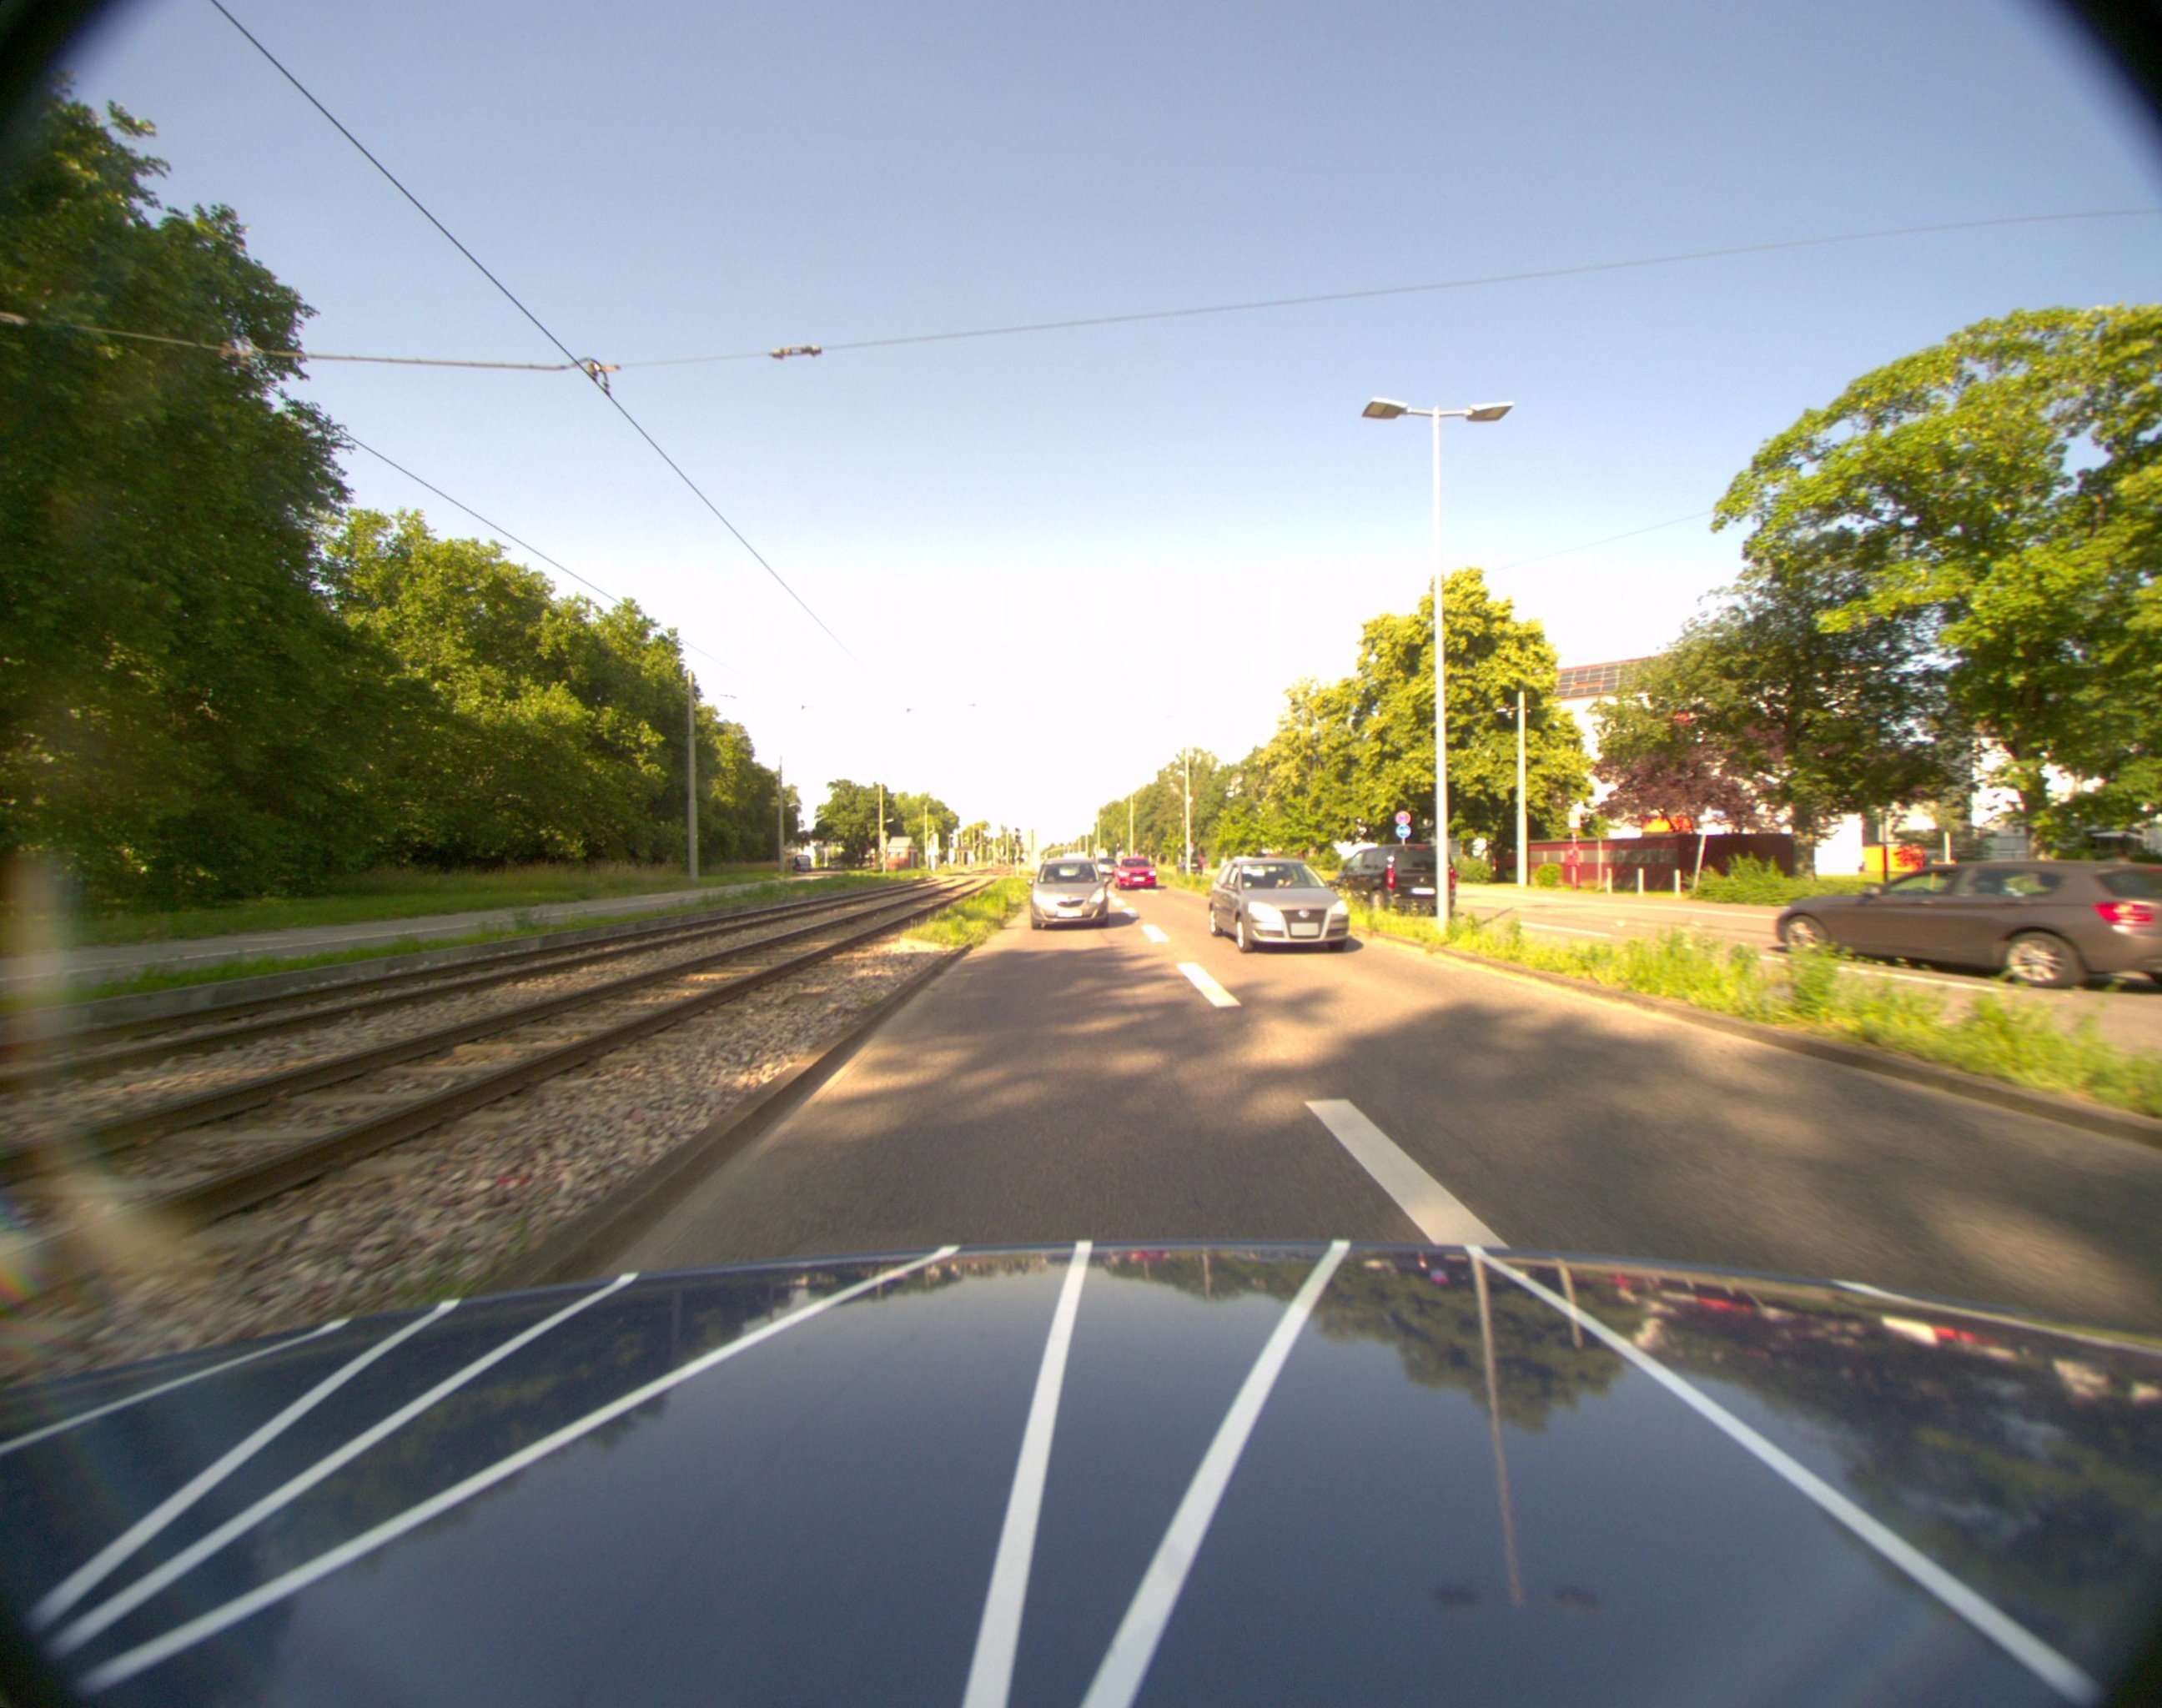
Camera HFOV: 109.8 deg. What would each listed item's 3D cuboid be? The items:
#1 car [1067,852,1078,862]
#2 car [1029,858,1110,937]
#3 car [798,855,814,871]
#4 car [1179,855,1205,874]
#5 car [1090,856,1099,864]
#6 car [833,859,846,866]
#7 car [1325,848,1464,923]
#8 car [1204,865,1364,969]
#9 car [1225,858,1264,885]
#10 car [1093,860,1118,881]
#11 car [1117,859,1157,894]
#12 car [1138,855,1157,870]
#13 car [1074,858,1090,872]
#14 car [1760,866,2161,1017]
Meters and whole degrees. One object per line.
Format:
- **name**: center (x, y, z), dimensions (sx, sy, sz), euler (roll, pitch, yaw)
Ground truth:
- **car**: center (-1.413, 0.449, 123.930), dimensions (1.710, 1.513, 3.832), euler (-2, 0, -2)
- **car**: center (-0.263, 0.921, 17.924), dimensions (1.650, 1.581, 3.833), euler (-2, 0, -1)
- **car**: center (-43.721, 1.478, 120.880), dimensions (1.863, 2.506, 3.853), euler (-3, 0, -27)
- **car**: center (10.416, 0.981, 71.506), dimensions (1.774, 1.669, 4.049), euler (0, 0, -2)
- **car**: center (2.879, 1.213, 163.539), dimensions (1.774, 1.669, 4.048), euler (1, 0, -2)
- **car**: center (-46.445, 1.567, 145.979), dimensions (1.809, 1.384, 3.776), euler (0, 0, -28)
- **car**: center (8.108, 0.750, 20.152), dimensions (1.795, 1.773, 4.480), euler (1, 0, 0)
- **car**: center (3.255, 0.942, 12.952), dimensions (1.692, 1.420, 3.833), euler (-2, 0, 0)
- **car**: center (10.854, 1.126, 50.771), dimensions (1.664, 1.669, 4.515), euler (1, 0, 0)
- **car**: center (1.936, 1.305, 60.632), dimensions (1.710, 1.513, 3.832), euler (-2, 0, -2)
- **car**: center (2.723, 1.062, 37.810), dimensions (1.692, 1.573, 3.833), euler (-2, 0, 0)
- **car**: center (7.896, 0.980, 90.198), dimensions (1.774, 1.669, 4.048), euler (1, 0, -2)
- **car**: center (0.054, 1.336, 92.519), dimensions (1.774, 1.669, 4.048), euler (1, 0, -2)
- **car**: center (11.303, 0.892, 9.529), dimensions (1.728, 1.411, 4.326), euler (0, 0, 0)
